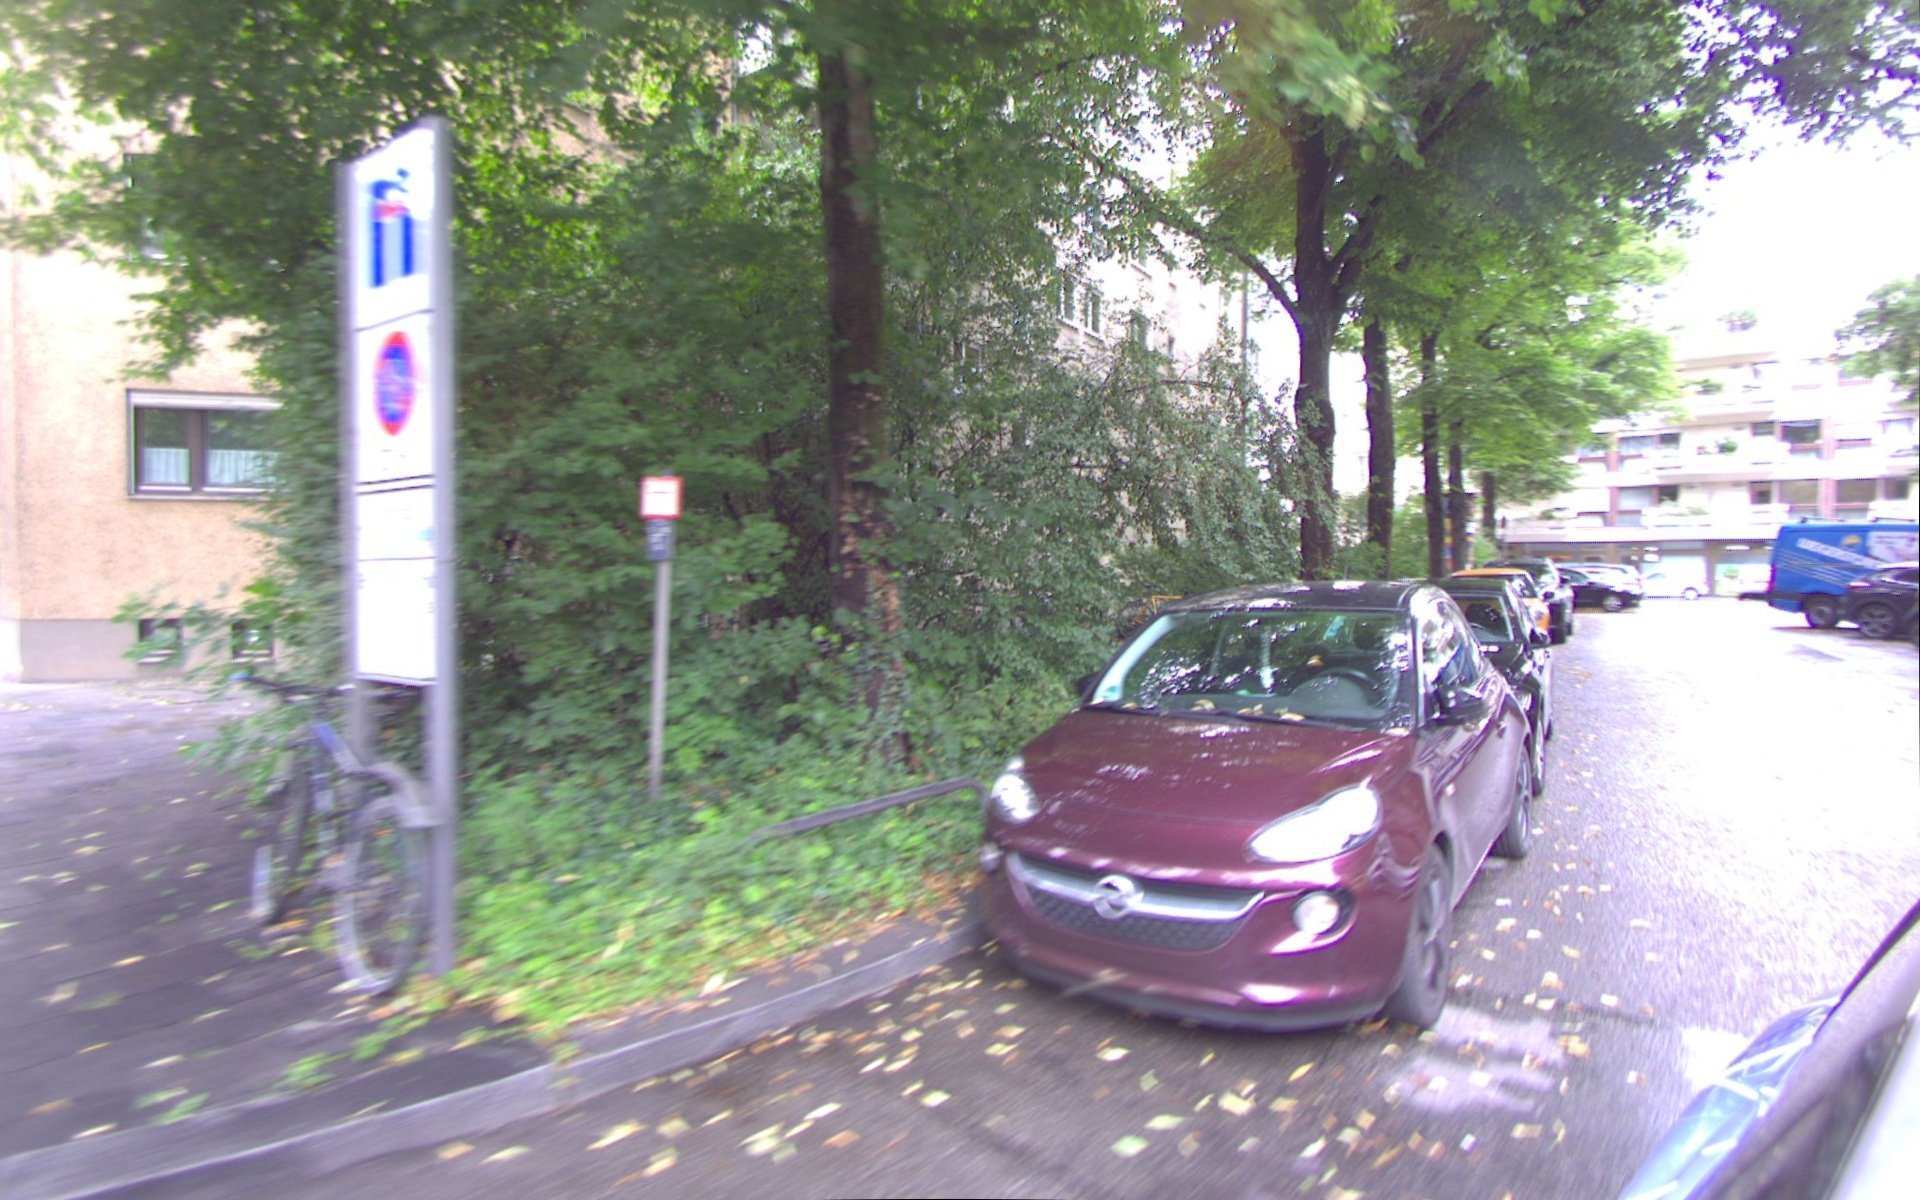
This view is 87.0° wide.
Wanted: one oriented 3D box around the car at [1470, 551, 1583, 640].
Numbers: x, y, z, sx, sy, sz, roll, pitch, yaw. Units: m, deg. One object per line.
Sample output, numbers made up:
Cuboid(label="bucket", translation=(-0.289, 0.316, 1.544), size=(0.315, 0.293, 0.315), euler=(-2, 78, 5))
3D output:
Cuboid(label="car", translation=(11.539, -0.145, 20.491), size=(1.686, 1.618, 4.059), euler=(1, 2, 34))

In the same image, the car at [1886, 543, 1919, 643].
Cuboid(label="car", translation=(17.009, -0.080, 15.235), size=(1.864, 1.623, 4.119), euler=(-1, 2, -19))

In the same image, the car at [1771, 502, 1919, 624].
Cuboid(label="car", translation=(20.010, -0.765, 20.929), size=(1.937, 2.441, 4.701), euler=(-1, 2, -22))

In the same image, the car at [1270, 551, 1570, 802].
Cuboid(label="car", translation=(3.941, 0.398, 8.278), size=(1.720, 1.515, 4.000), euler=(1, 2, 32))

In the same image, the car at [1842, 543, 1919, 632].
Cuboid(label="car", translation=(18.597, -0.214, 17.904), size=(1.864, 1.623, 4.119), euler=(-1, 2, -19))

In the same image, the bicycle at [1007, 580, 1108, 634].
Cuboid(label="bicycle", translation=(1.755, 0.110, 18.295), size=(1.741, 0.924, 0.529), euler=(1, 1, 25))

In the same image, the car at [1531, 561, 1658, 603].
Cuboid(label="car", translation=(22.030, -0.638, 35.308), size=(3.661, 1.410, 1.835), euler=(1, 2, 31))

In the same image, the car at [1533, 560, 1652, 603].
Cuboid(label="car", translation=(23.385, -0.699, 37.553), size=(3.661, 1.496, 1.835), euler=(1, 2, 31))

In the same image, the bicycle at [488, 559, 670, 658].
Cuboid(label="bicycle", translation=(-5.140, 0.059, 13.855), size=(0.699, 1.232, 2.405), euler=(1, 2, 32))

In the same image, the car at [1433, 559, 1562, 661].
Cuboid(label="car", translation=(8.822, 0.080, 16.566), size=(1.683, 1.456, 3.739), euler=(1, 2, 30))

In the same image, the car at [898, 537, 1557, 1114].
Cuboid(label="car", translation=(1.540, 0.532, 4.647), size=(1.723, 1.515, 3.661), euler=(1, 2, 36))

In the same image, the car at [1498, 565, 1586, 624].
Cuboid(label="car", translation=(14.829, -0.192, 25.714), size=(1.686, 1.375, 3.712), euler=(1, 2, 34))

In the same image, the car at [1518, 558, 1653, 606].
Cuboid(label="car", translation=(20.497, -0.598, 33.327), size=(3.661, 1.496, 1.835), euler=(1, 2, 31))

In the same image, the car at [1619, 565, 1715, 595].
Cuboid(label="car", translation=(33.318, -0.949, 47.777), size=(3.667, 1.373, 1.832), euler=(1, 2, 35))

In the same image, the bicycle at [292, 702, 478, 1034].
Cuboid(label="bicycle", translation=(-2.024, 0.857, 3.519), size=(1.076, 0.891, 0.246), euler=(1, 2, 43))
